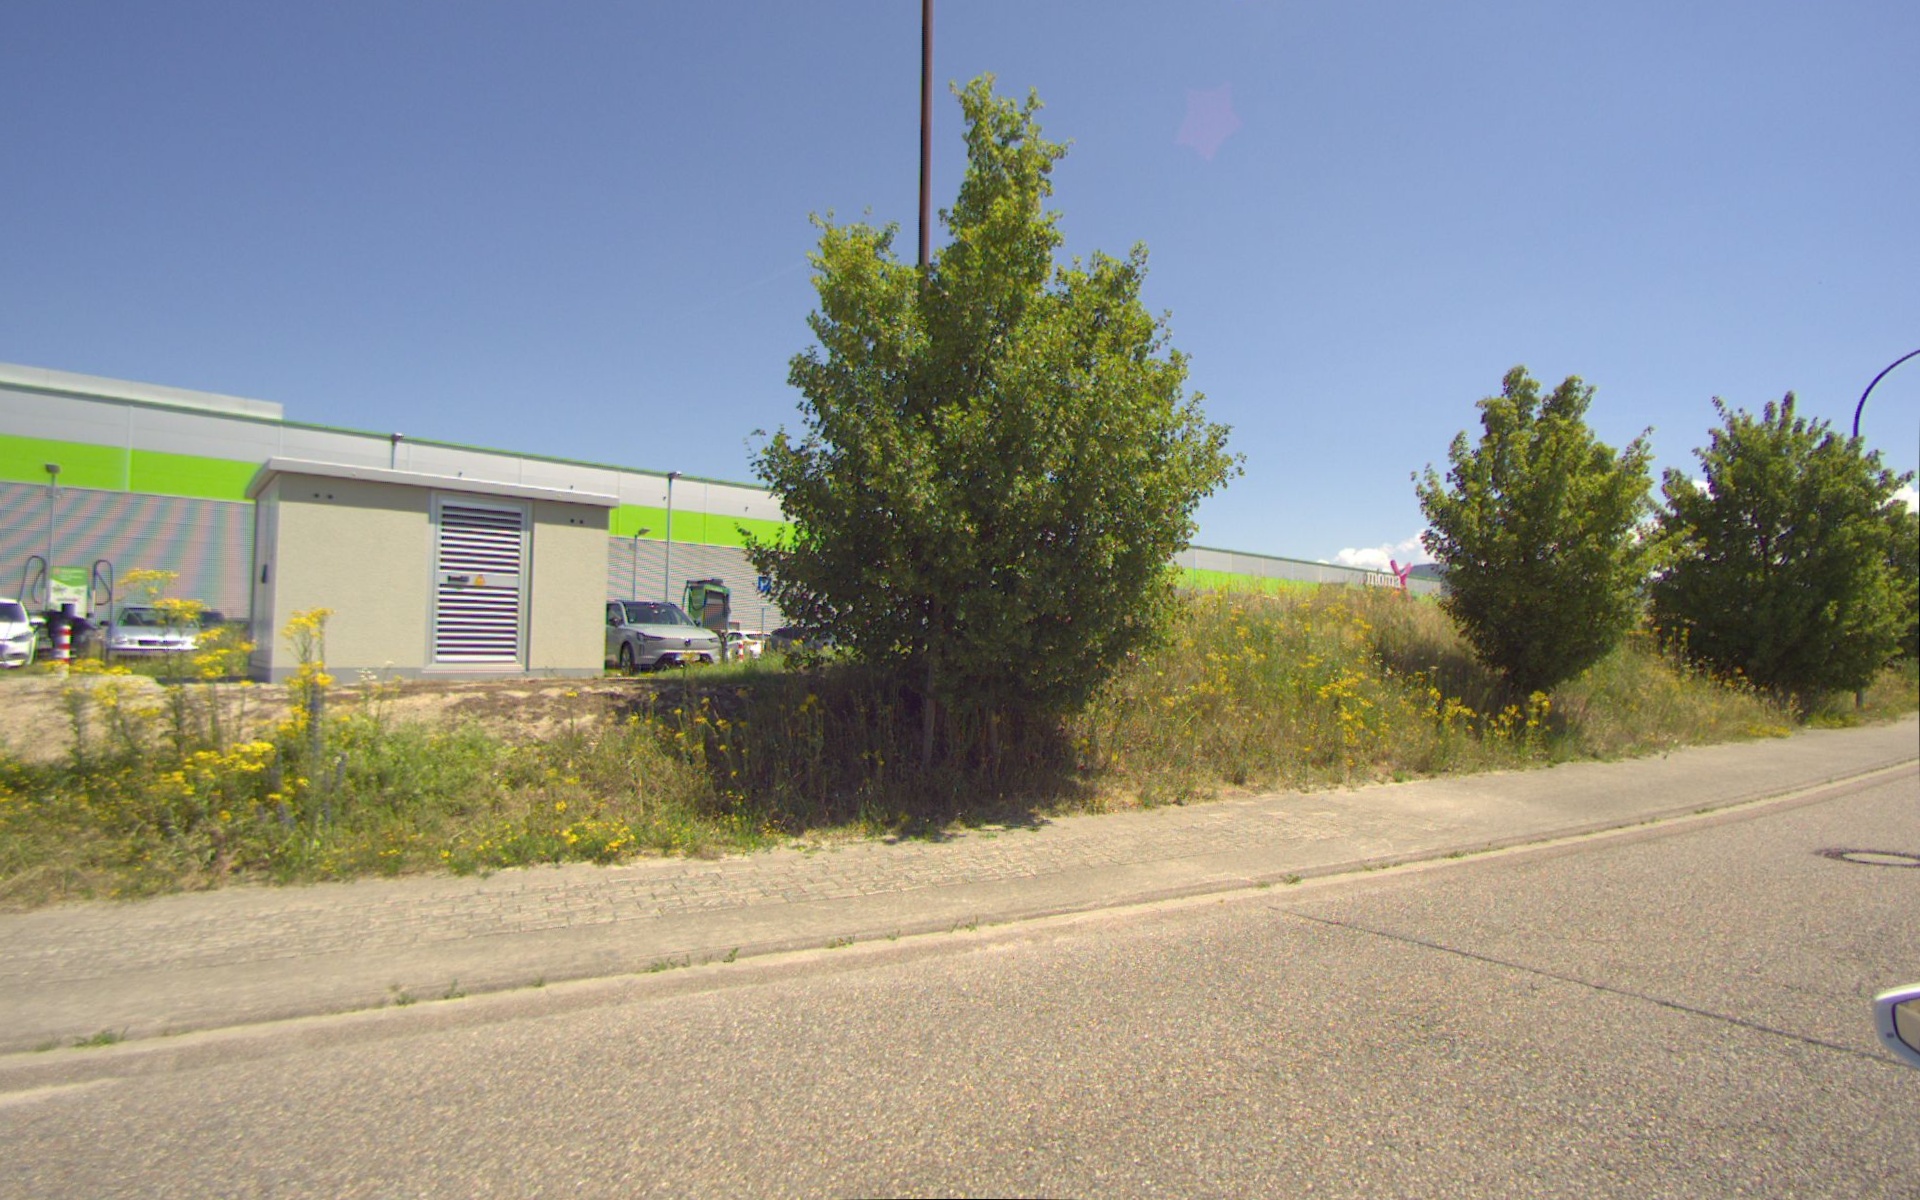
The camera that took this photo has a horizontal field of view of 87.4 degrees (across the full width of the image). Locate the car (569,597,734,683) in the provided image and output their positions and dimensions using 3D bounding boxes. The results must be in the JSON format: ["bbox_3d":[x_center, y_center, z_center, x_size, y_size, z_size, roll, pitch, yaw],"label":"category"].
[{"bbox_3d":[-6.894,0.890,22.116,1.981,1.679,4.789,2,-3,-36],"label":"car"}]

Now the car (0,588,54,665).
[{"bbox_3d":[-19.529,0.535,20.100,1.985,1.431,3.952,3,-3,-41],"label":"car"}]

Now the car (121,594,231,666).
[{"bbox_3d":[-17.175,0.673,21.945,1.630,1.417,3.753,3,-3,-41],"label":"car"}]

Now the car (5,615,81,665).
[{"bbox_3d":[-26.252,1.139,28.831,1.480,1.342,3.952,3,-3,-41],"label":"car"}]
